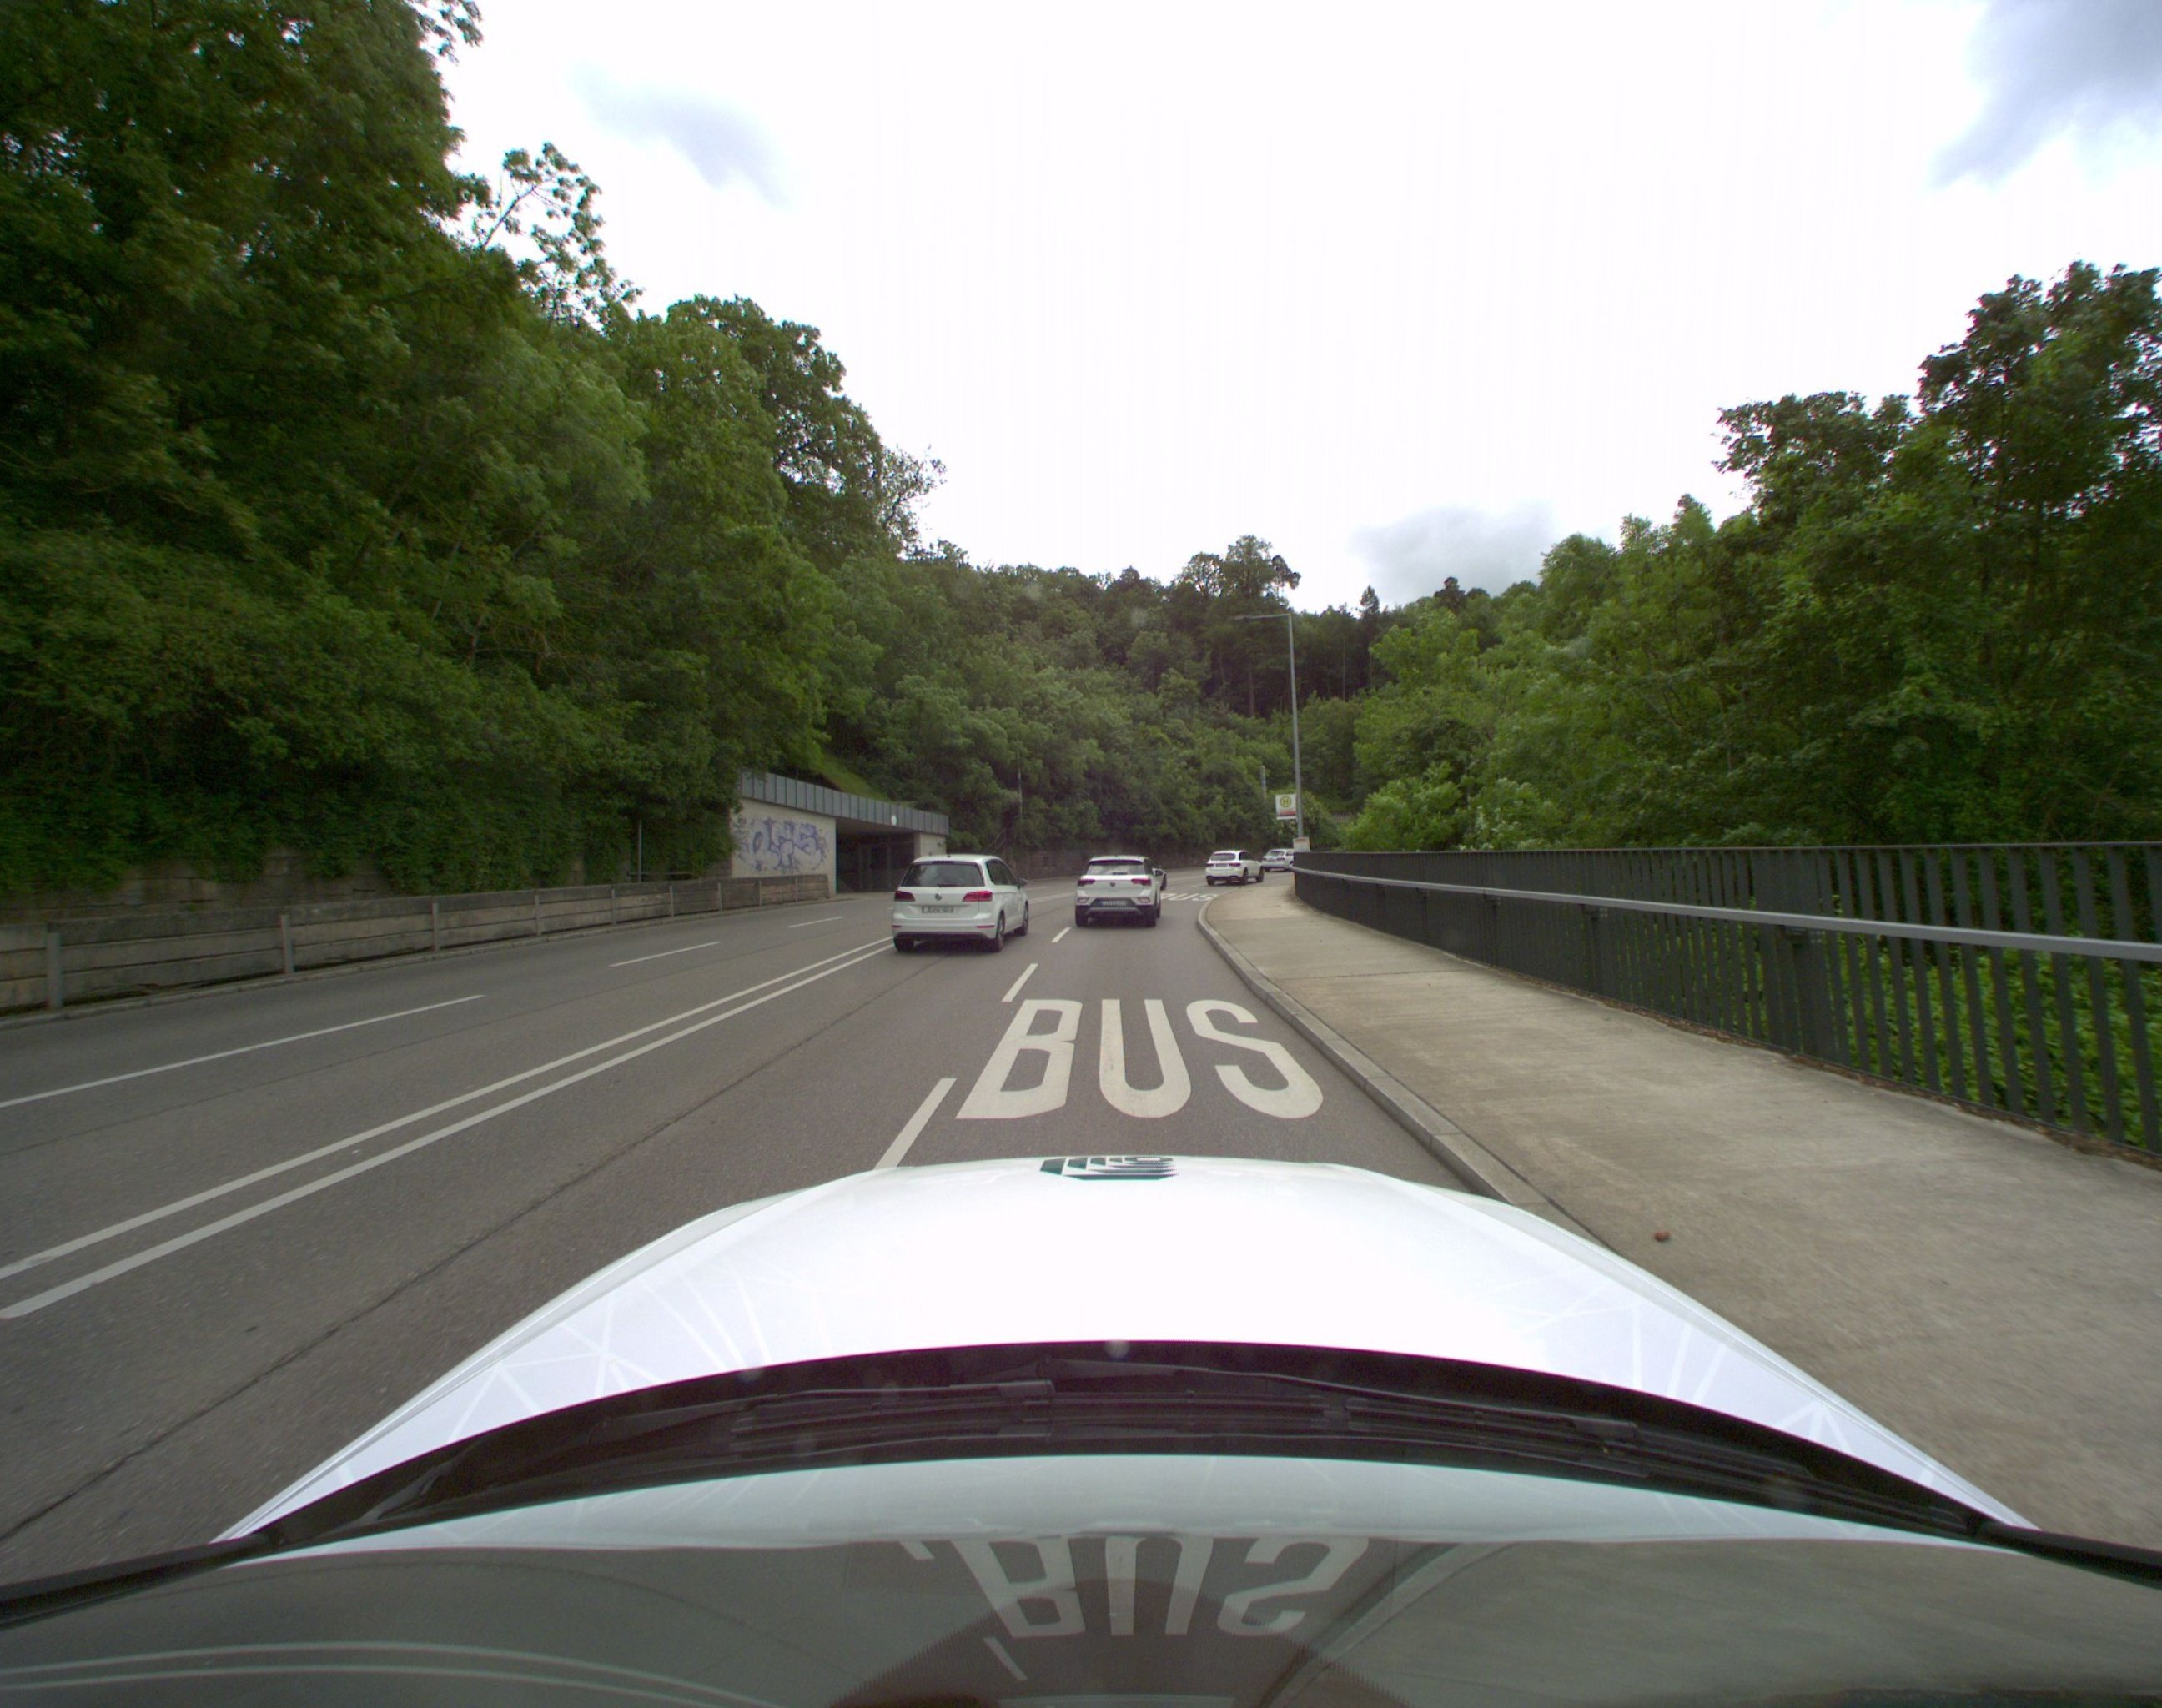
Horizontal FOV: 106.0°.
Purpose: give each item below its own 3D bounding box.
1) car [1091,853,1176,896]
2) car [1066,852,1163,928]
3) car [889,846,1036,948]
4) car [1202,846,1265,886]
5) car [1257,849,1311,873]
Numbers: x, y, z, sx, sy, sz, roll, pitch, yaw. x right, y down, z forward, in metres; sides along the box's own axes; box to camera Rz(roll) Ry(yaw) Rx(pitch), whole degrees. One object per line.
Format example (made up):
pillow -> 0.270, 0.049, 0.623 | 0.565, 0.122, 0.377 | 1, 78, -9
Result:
car -> 2.251, 0.781, 33.694 | 1.976, 1.557, 4.708 | 1, 1, 24
car -> 0.901, 0.768, 19.097 | 1.803, 1.539, 4.017 | -2, -1, 8
car -> -1.945, 0.662, 14.647 | 1.712, 1.554, 4.280 | -1, 0, 4
car -> 7.477, 0.571, 39.663 | 1.975, 1.843, 4.174 | 0, -1, 26
car -> 13.359, 0.469, 53.323 | 1.724, 1.519, 4.335 | 0, -1, 40
